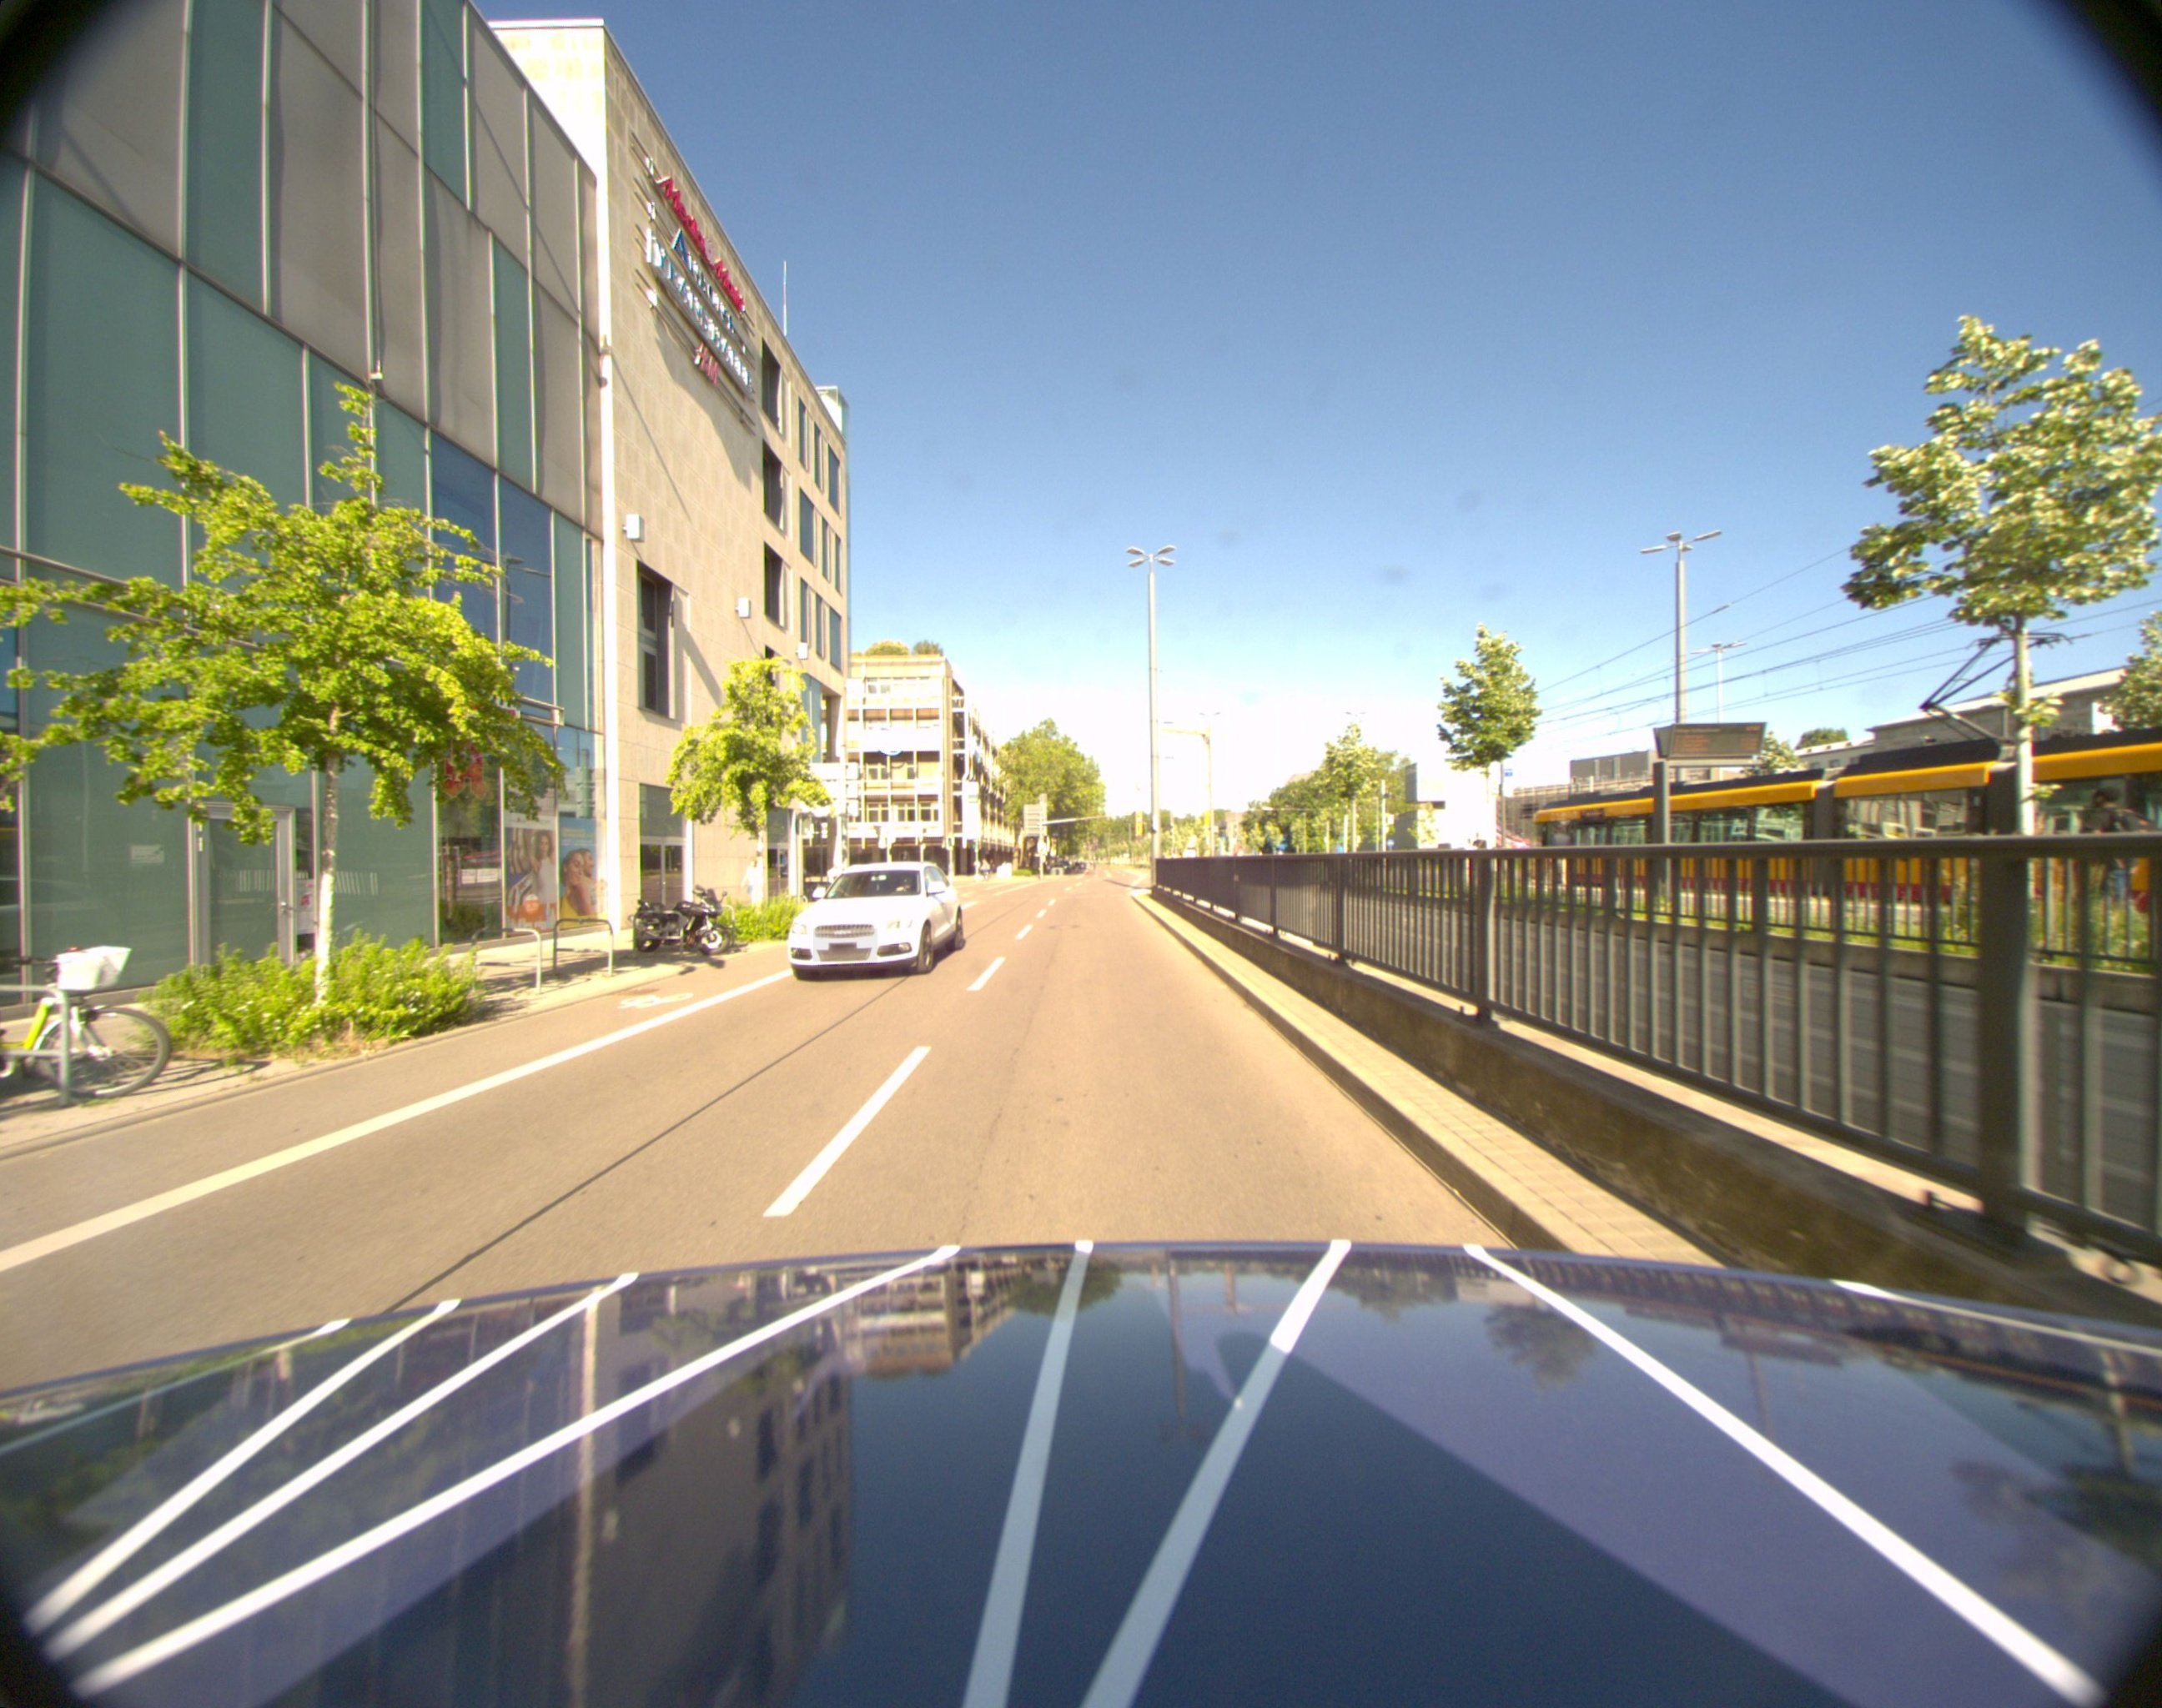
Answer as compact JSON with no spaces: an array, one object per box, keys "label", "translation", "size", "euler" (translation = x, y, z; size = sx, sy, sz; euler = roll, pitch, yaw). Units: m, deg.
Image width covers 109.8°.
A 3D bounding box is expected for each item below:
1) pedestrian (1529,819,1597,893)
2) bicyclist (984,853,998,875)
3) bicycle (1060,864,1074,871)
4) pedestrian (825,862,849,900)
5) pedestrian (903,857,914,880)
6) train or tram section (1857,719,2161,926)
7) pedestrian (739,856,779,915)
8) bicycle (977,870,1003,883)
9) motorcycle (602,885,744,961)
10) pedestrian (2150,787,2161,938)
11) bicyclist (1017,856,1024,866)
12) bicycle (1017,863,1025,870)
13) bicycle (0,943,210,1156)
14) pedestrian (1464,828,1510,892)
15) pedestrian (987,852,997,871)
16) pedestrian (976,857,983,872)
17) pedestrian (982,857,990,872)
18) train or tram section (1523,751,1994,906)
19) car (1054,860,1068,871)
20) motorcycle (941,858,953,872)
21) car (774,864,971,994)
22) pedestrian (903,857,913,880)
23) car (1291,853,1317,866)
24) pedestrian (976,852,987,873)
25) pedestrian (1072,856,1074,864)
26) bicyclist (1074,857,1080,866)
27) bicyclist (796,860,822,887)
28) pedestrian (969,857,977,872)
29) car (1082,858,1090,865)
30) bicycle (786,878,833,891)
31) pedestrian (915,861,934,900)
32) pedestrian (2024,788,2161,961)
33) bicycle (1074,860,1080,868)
[{"label":"pedestrian","translation":[12.151,0.053,19.194],"size":[0.876,1.764,1.189],"euler":[-3,-1,-2]},{"label":"bicyclist","translation":[-7.275,0.815,61.408],"size":[0.853,1.677,0.710],"euler":[-3,0,-21]},{"label":"bicycle","translation":[-1.865,1.781,99.308],"size":[1.848,0.954,0.711],"euler":[1,0,-3]},{"label":"pedestrian","translation":[-10.269,1.136,32.001],"size":[0.725,1.598,0.750],"euler":[-1,-1,2]},{"label":"pedestrian","translation":[-12.150,0.994,53.589],"size":[0.662,1.603,0.526],"euler":[1,0,-8]},{"label":"train or tram section","translation":[18.634,-0.561,8.895],"size":[2.855,3.302,15.965],"euler":[-3,0,1]},{"label":"pedestrian","translation":[-9.995,0.963,23.625],"size":[0.729,1.791,1.066],"euler":[1,0,1]},{"label":"bicycle","translation":[-7.358,1.826,61.363],"size":[1.925,0.987,0.710],"euler":[-3,0,-22]},{"label":"motorcycle","translation":[-7.582,1.269,14.178],"size":[2.193,1.316,0.903],"euler":[0,0,5]},{"label":"pedestrian","translation":[13.019,0.075,8.543],"size":[0.763,1.764,0.826],"euler":[-3,0,-2]},{"label":"bicyclist","translation":[-8.497,0.954,106.855],"size":[0.883,1.468,0.883],"euler":[-1,0,1]},{"label":"bicycle","translation":[-8.491,1.757,106.930],"size":[0.883,0.979,2.051],"euler":[-1,0,1]},{"label":"bicycle","translation":[-7.668,1.301,5.388],"size":[2.089,1.198,0.951],"euler":[0,0,7]},{"label":"pedestrian","translation":[11.778,0.180,22.067],"size":[0.705,1.764,0.959],"euler":[-3,0,-2]},{"label":"pedestrian","translation":[-9.680,0.821,82.723],"size":[0.949,2.002,1.079],"euler":[-1,0,-6]},{"label":"pedestrian","translation":[-11.153,1.164,83.533],"size":[0.667,1.591,0.728],"euler":[1,0,2]},{"label":"pedestrian","translation":[-10.436,1.187,83.272],"size":[0.667,1.591,0.728],"euler":[1,0,2]},{"label":"train or tram section","translation":[18.797,-0.536,23.357],"size":[2.877,3.290,13.073],"euler":[-3,0,1]},{"label":"car","translation":[-2.772,1.614,107.375],"size":[1.752,1.481,4.560],"euler":[0,0,1]},{"label":"motorcycle","translation":[-14.292,1.188,81.192],"size":[0.825,1.433,2.122],"euler":[-1,0,2]},{"label":"car","translation":[-3.065,1.017,12.216],"size":[1.824,1.604,4.412],"euler":[-2,0,1]},{"label":"pedestrian","translation":[-12.373,1.010,54.329],"size":[0.662,1.603,0.526],"euler":[1,0,-8]},{"label":"car","translation":[27.137,0.668,92.573],"size":[1.998,1.552,4.832],"euler":[-1,0,4]},{"label":"pedestrian","translation":[-9.634,0.799,73.361],"size":[0.950,2.002,1.078],"euler":[-1,0,-10]},{"label":"pedestrian","translation":[-1.951,1.495,183.594],"size":[0.591,1.829,0.569],"euler":[-1,0,1]},{"label":"bicyclist","translation":[-0.595,1.104,116.866],"size":[0.830,1.380,0.904],"euler":[-1,0,2]},{"label":"bicyclist","translation":[-15.115,1.053,42.230],"size":[1.024,1.467,1.072],"euler":[-1,0,5]},{"label":"pedestrian","translation":[-11.857,1.131,83.605],"size":[0.667,1.591,1.009],"euler":[1,0,2]},{"label":"car","translation":[1.213,1.963,194.310],"size":[1.999,1.597,3.896],"euler":[-1,0,0]},{"label":"bicycle","translation":[-15.066,1.708,42.243],"size":[2.197,0.667,1.072],"euler":[-1,0,5]},{"label":"pedestrian","translation":[-6.867,1.157,33.337],"size":[0.658,1.692,0.698],"euler":[2,0,-1]},{"label":"pedestrian","translation":[11.302,0.207,8.267],"size":[0.793,1.764,0.979],"euler":[-3,0,-2]},{"label":"bicycle","translation":[-0.595,1.536,116.864],"size":[0.845,1.123,2.553],"euler":[-1,0,2]}]
